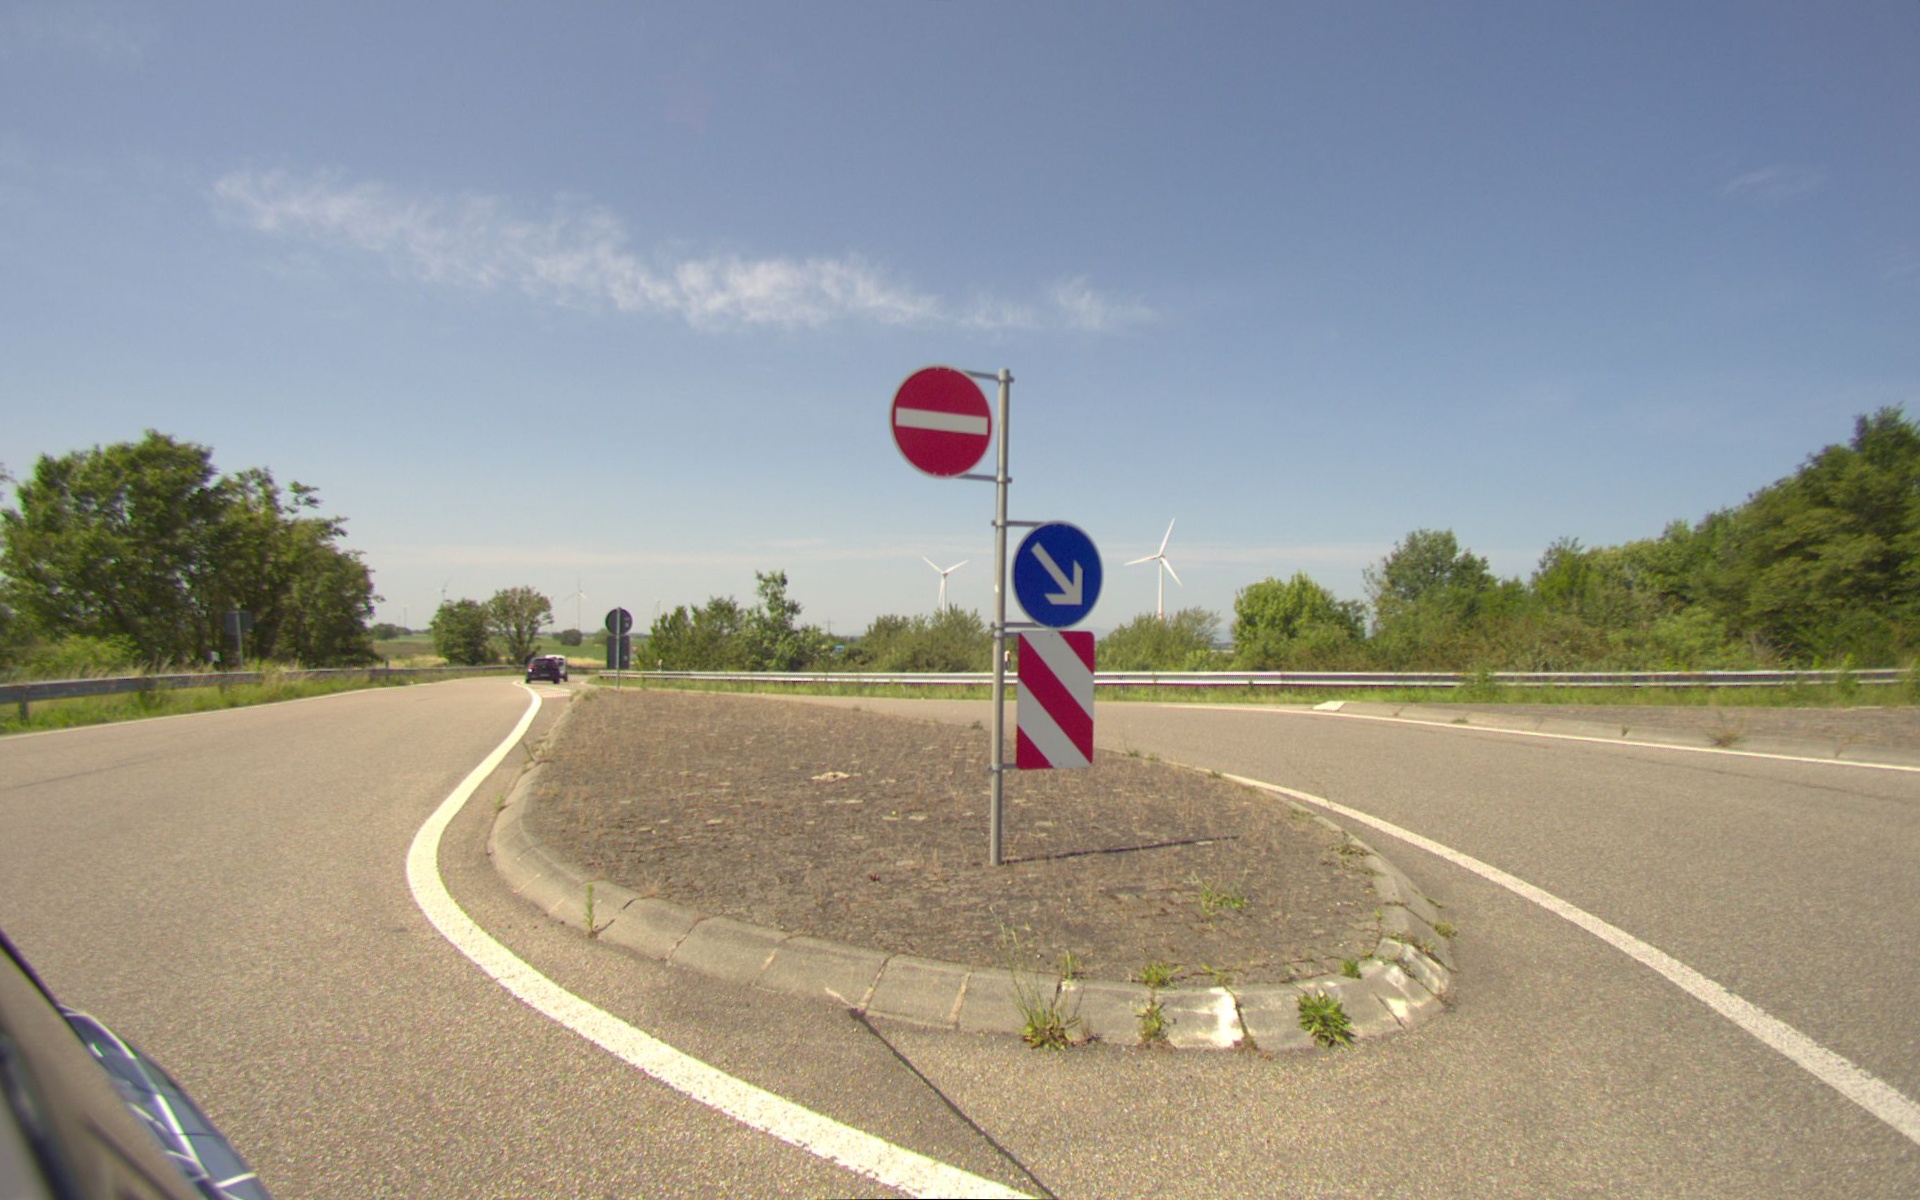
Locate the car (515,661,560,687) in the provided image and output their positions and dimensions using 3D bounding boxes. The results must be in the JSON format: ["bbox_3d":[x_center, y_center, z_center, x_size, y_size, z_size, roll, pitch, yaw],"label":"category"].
[{"bbox_3d":[-23.839,4.181,57.032,1.685,1.406,3.898,4,-6,-32],"label":"car"}]

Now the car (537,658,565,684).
[{"bbox_3d":[-28.509,4.976,70.508,1.712,1.775,4.096,2,-5,-23],"label":"car"}]
